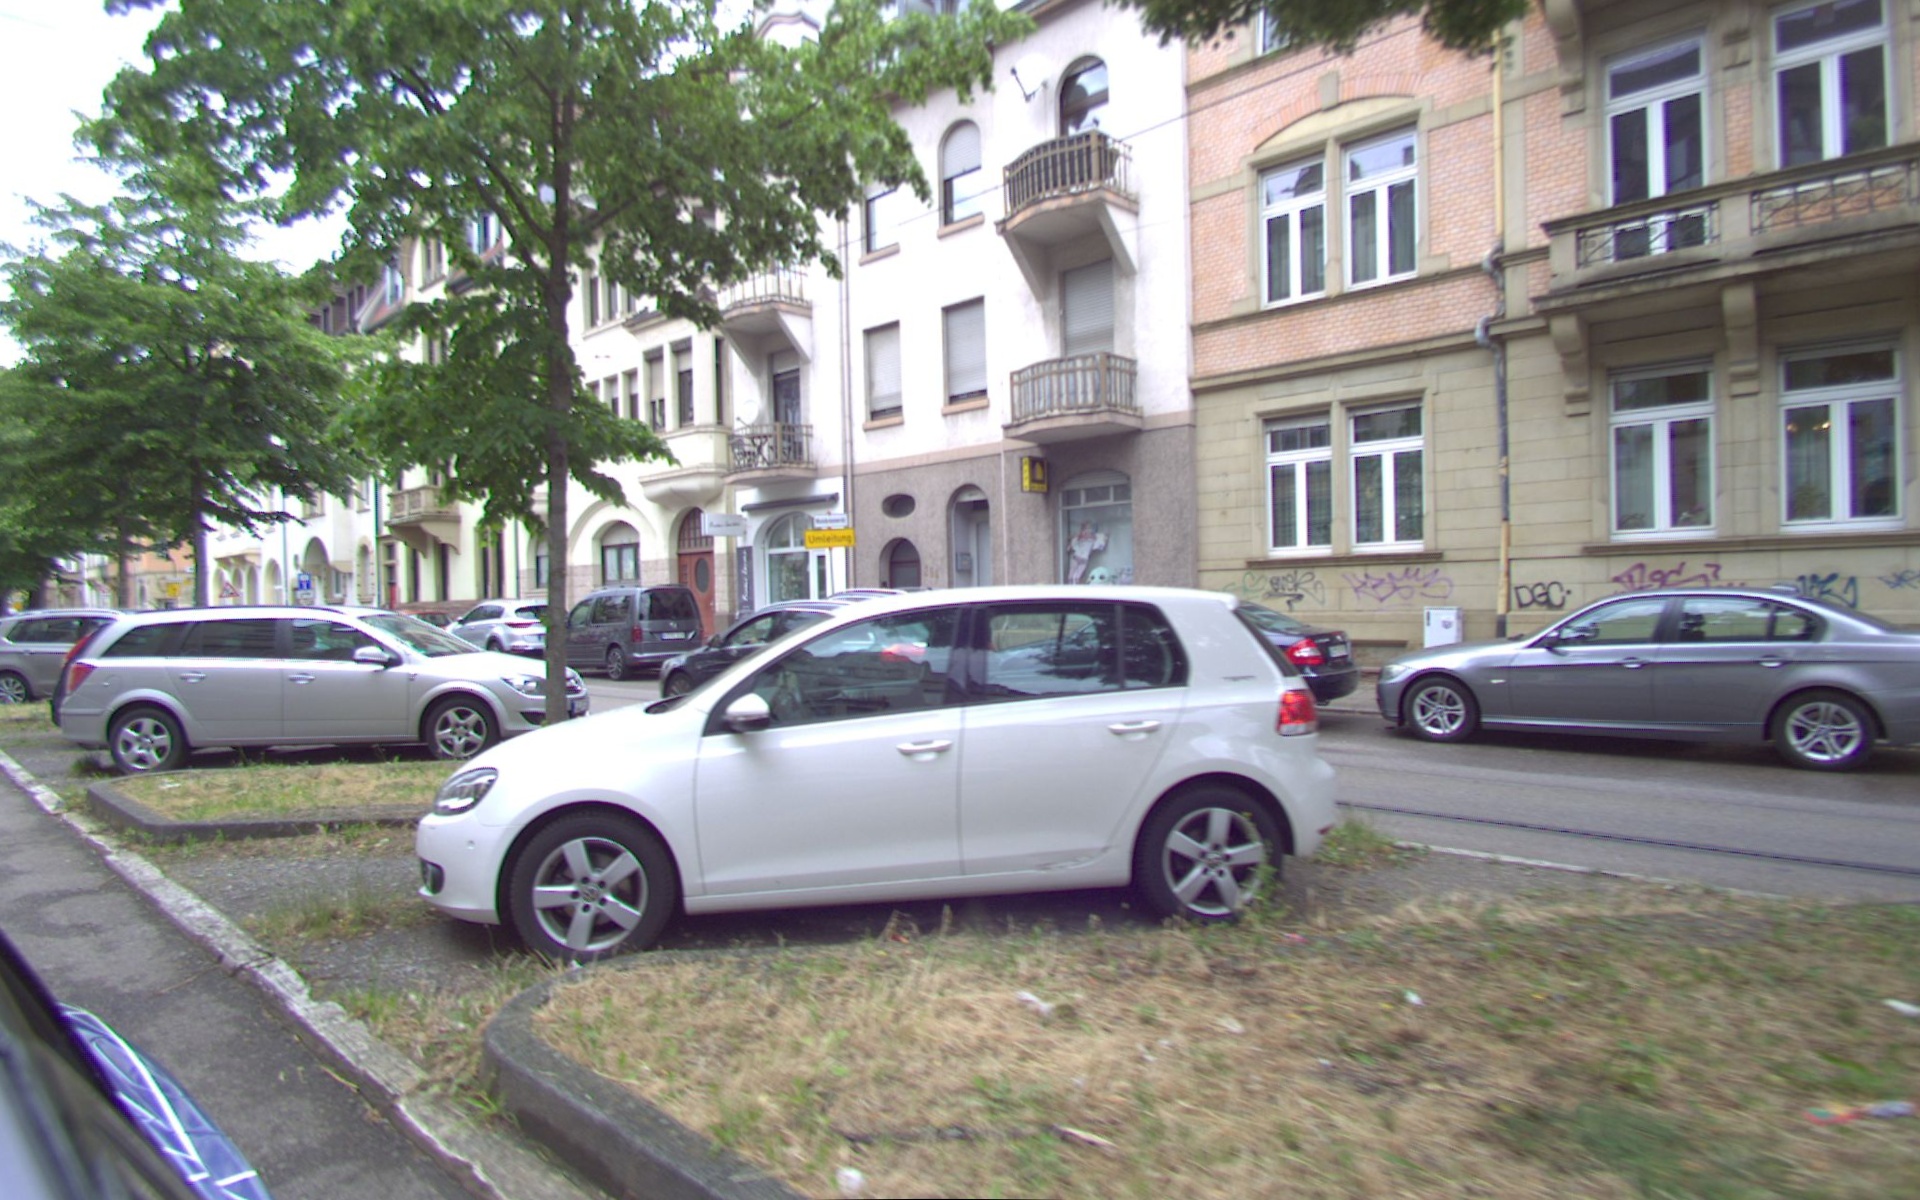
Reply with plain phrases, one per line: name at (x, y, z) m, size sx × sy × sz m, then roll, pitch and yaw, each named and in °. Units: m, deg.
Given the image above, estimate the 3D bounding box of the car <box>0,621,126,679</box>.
car at (-26.586, 1.432, 28.519) m, size 4.540 × 1.477 × 1.887 m, roll -2°, pitch 0°, yaw -3°

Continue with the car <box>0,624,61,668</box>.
car at (-34.191, 1.641, 35.256) m, size 3.939 × 1.478 × 1.900 m, roll -2°, pitch -2°, yaw -5°

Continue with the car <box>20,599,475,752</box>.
car at (-8.009, 0.799, 11.691) m, size 3.941 × 1.496 × 1.777 m, roll -2°, pitch 0°, yaw -3°

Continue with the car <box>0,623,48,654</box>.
car at (-47.260, 1.902, 49.226) m, size 3.931 × 1.426 × 1.904 m, roll -1°, pitch -2°, yaw -28°

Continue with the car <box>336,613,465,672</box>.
car at (-16.075, 1.196, 29.000) m, size 4.190 × 1.534 × 1.832 m, roll -2°, pitch -1°, yaw 39°

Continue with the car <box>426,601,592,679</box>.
car at (-10.905, 0.931, 24.342) m, size 4.489 × 1.672 × 1.832 m, roll -2°, pitch -1°, yaw 39°

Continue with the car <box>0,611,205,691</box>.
car at (-18.228, 1.033, 21.284) m, size 3.375 × 1.538 × 1.693 m, roll -1°, pitch 1°, yaw -6°

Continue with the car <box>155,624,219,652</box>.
car at (-35.496, 1.724, 46.435) m, size 3.377 × 1.185 × 1.618 m, roll -2°, pitch 0°, yaw 40°

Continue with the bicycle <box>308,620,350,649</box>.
bicycle at (-26.393, 1.449, 42.305) m, size 1.908 × 1.135 × 0.607 m, roll -2°, pitch 2°, yaw 30°

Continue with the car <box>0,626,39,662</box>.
car at (-39.676, 1.821, 40.373) m, size 3.935 × 1.426 × 1.902 m, roll -2°, pitch -2°, yaw -10°

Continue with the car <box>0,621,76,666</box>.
car at (-31.553, 1.463, 33.076) m, size 3.681 × 1.399 × 1.791 m, roll -2°, pitch -2°, yaw -5°

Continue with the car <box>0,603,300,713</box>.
car at (-13.494, 0.902, 16.582) m, size 4.141 × 1.621 × 1.728 m, roll -1°, pitch 1°, yaw -7°

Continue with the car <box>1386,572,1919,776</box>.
car at (6.213, 0.529, 8.868) m, size 4.228 × 1.449 × 1.786 m, roll -1°, pitch 0°, yaw 41°

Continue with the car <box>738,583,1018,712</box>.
car at (-1.352, 0.639, 15.440) m, size 4.271 × 1.692 × 1.786 m, roll -1°, pitch 0°, yaw 41°

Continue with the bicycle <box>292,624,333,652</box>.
bicycle at (-27.947, 1.654, 43.662) m, size 1.908 × 1.135 × 0.607 m, roll -2°, pitch 2°, yaw 30°

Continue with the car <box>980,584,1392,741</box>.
car at (2.497, 0.625, 11.859) m, size 4.385 × 1.501 × 1.786 m, roll -1°, pitch 0°, yaw 41°

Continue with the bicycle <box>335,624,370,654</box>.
bicycle at (-24.423, 1.548, 40.685) m, size 1.915 × 1.135 × 0.605 m, roll -2°, pitch 2°, yaw 41°

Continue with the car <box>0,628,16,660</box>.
car at (-44.784, 2.013, 44.854) m, size 3.935 × 1.426 × 1.902 m, roll -2°, pitch -2°, yaw -10°

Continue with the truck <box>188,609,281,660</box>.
truck at (-29.411, 1.373, 40.951) m, size 2.120 × 1.870 × 6.067 m, roll -2°, pitch 0°, yaw -45°

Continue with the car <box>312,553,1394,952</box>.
car at (-0.407, 0.542, 4.793) m, size 4.067 × 1.322 × 1.866 m, roll -2°, pitch 0°, yaw -5°

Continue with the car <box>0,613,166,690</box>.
car at (-21.010, 1.194, 23.455) m, size 3.756 × 1.538 × 1.677 m, roll -3°, pitch 1°, yaw -3°

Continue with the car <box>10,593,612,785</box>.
car at (-5.890, 0.754, 9.658) m, size 4.498 × 1.504 × 1.865 m, roll -2°, pitch 1°, yaw -2°

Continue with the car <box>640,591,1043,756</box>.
car at (-1.490, 0.683, 11.275) m, size 4.650 × 1.464 × 1.786 m, roll -1°, pitch 0°, yaw 41°

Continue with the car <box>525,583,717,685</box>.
car at (-7.076, 0.667, 20.892) m, size 4.430 × 1.885 × 1.831 m, roll -2°, pitch -1°, yaw 42°
